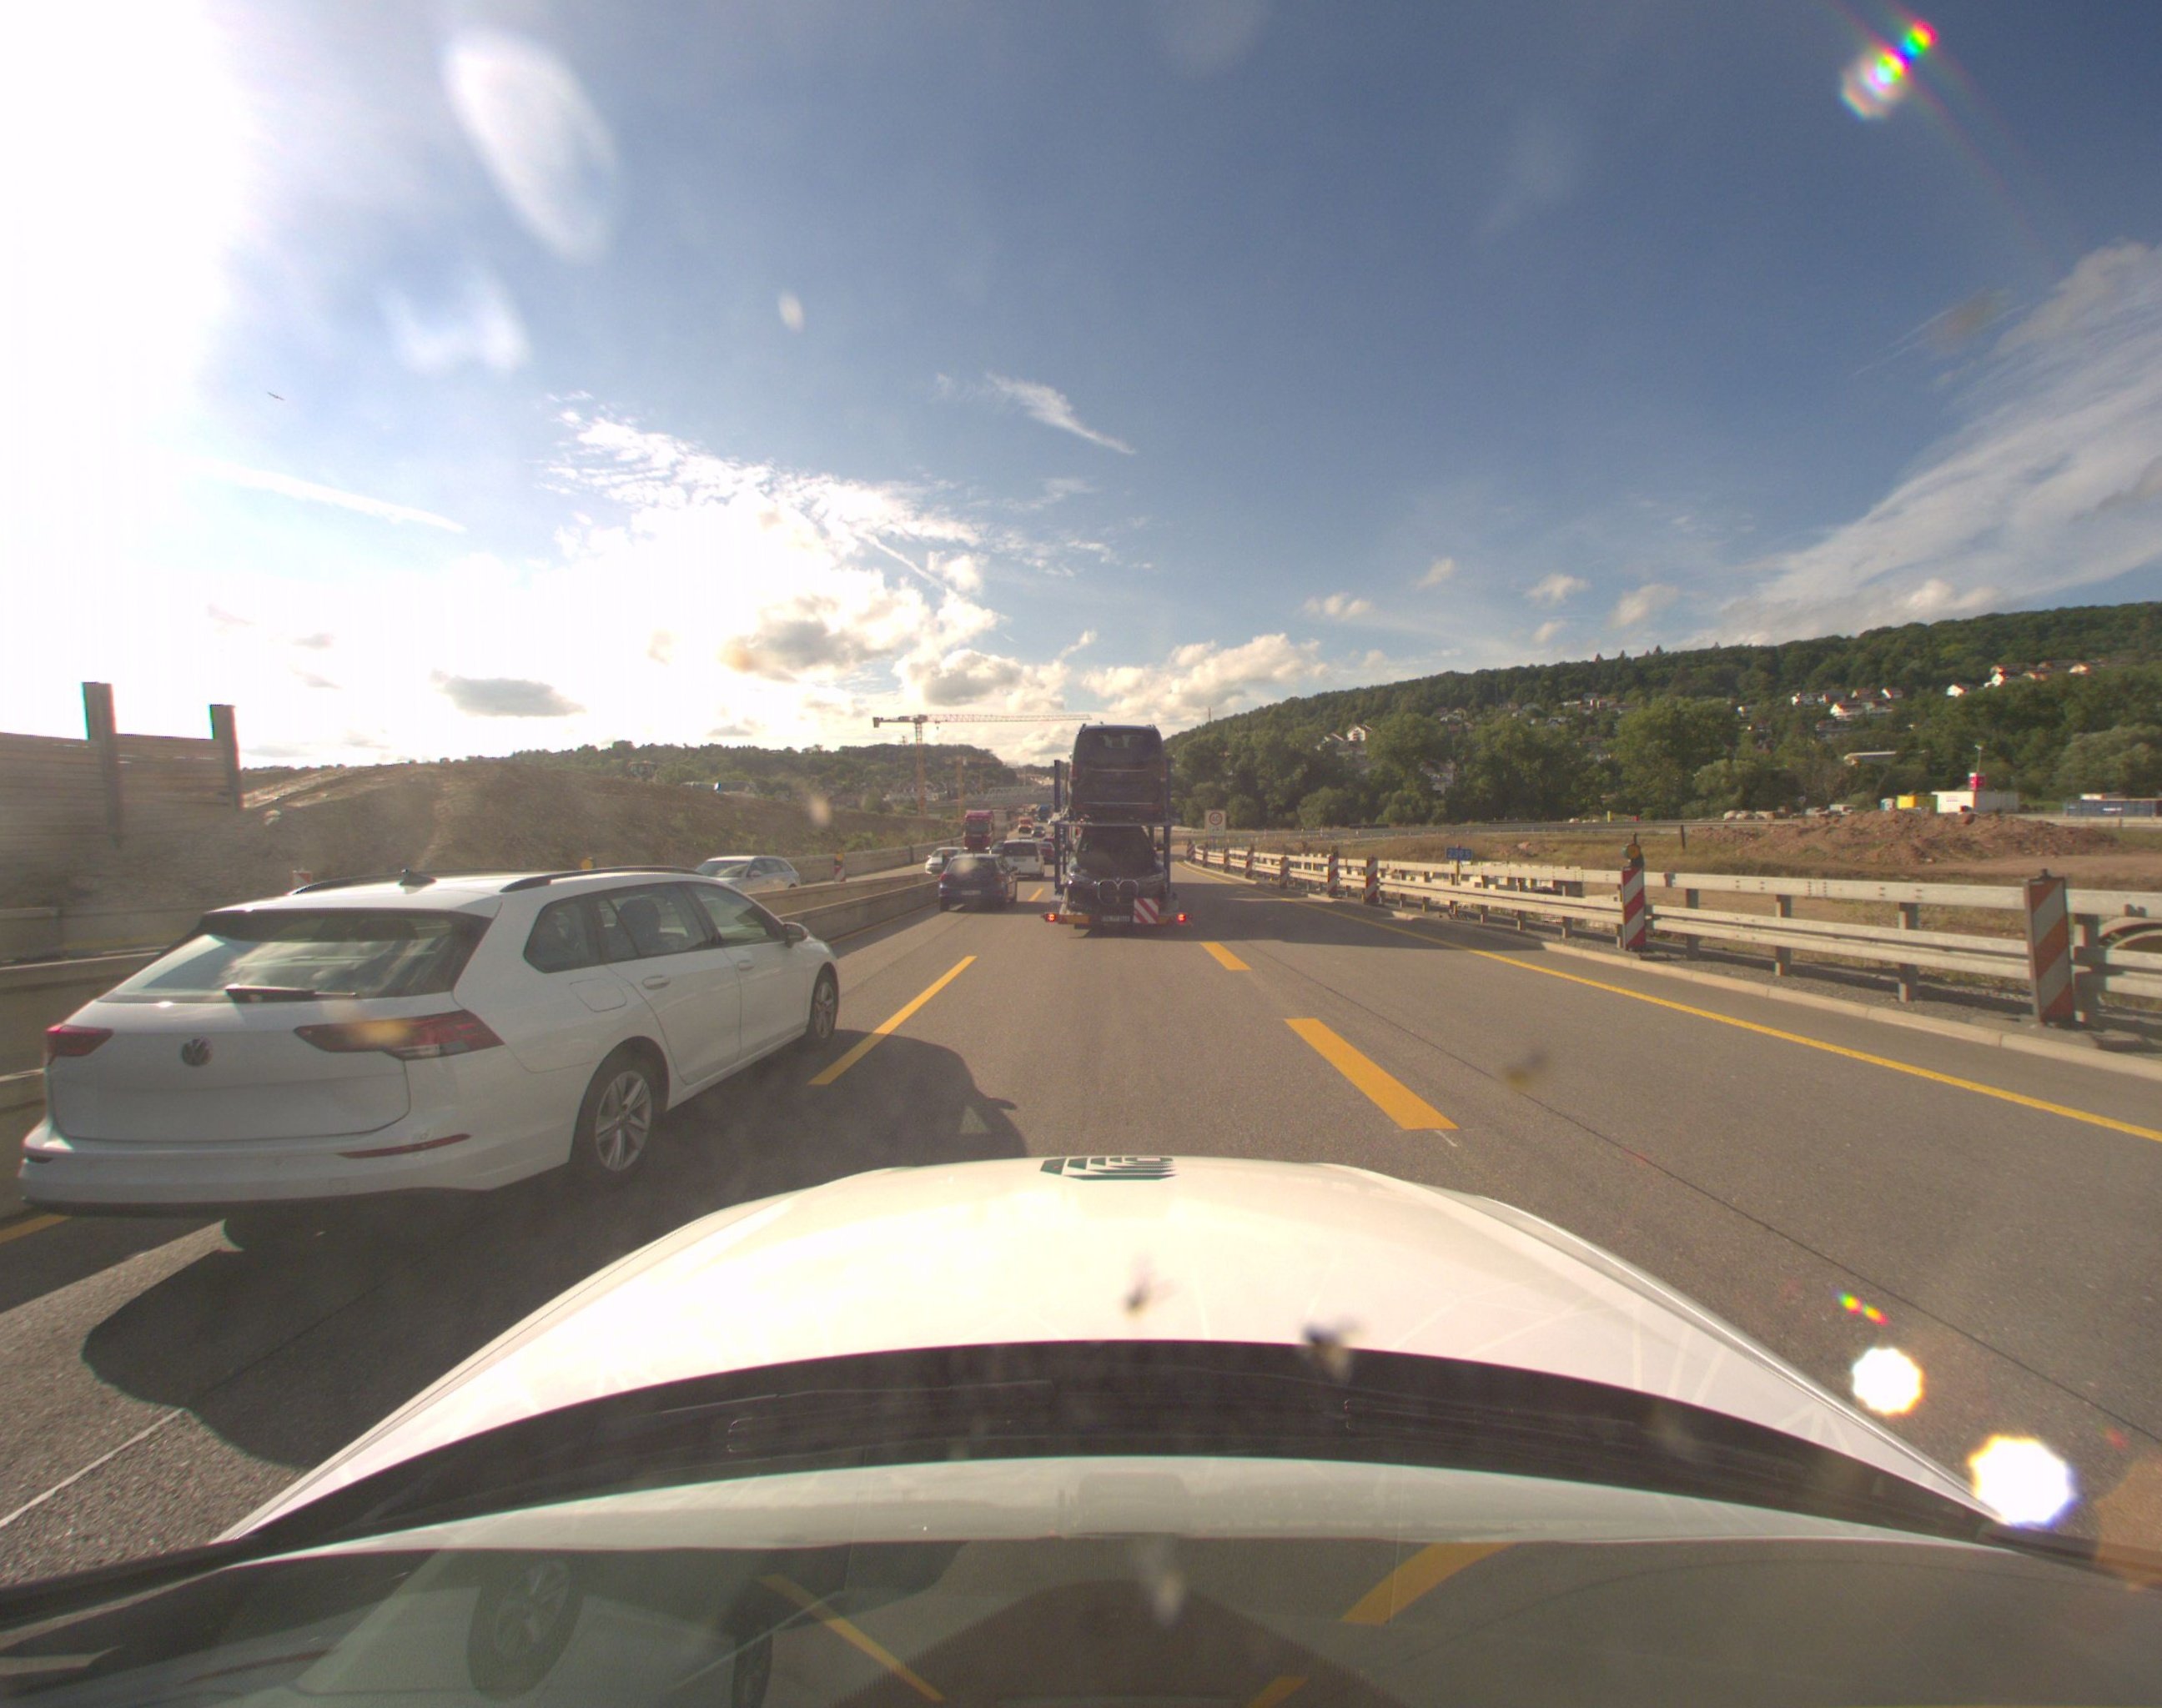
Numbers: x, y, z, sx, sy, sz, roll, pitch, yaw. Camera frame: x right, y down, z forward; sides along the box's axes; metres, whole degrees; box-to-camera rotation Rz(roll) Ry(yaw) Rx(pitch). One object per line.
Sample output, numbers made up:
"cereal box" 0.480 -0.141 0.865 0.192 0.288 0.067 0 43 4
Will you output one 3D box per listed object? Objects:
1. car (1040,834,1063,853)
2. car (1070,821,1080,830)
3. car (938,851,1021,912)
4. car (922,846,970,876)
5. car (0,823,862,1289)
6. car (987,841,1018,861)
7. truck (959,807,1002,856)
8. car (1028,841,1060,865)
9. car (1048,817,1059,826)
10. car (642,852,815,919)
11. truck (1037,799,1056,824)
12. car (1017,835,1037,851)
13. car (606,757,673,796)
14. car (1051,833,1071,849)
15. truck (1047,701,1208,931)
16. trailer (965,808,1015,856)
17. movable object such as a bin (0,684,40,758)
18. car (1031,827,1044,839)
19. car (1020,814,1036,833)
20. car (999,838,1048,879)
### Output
"car" -2.515 -0.872 70.364 1.988 1.552 3.997 0 -1 -1
"car" -1.138 -5.236 150.032 1.839 1.648 4.502 0 0 -1
"car" -2.639 0.663 21.942 1.716 1.422 3.999 -1 1 0
"car" -6.795 0.343 41.325 1.748 1.440 3.805 0 0 1
"car" -2.915 0.718 4.930 1.763 1.491 4.518 -1 -1 2
"car" -6.096 -0.245 63.899 1.814 1.440 4.617 0 0 2
"truck" -9.303 -2.053 75.818 2.903 4.387 6.290 1 0 2
"car" -2.479 -0.014 55.693 1.987 1.556 4.400 0 -1 0
"car" -5.395 -6.348 159.523 1.986 1.684 4.002 0 1 1
"car" -8.506 0.687 20.166 1.843 1.440 4.568 0 0 7
"truck" -7.881 -9.680 187.970 2.809 4.789 13.068 0 -1 4
"car" -5.494 -1.094 82.992 1.839 1.648 4.503 0 0 -1
"car" -33.135 -5.787 61.339 1.987 2.140 5.321 -5 -1 0
"car" -2.138 -1.403 88.456 1.986 1.665 4.003 0 2 2
"truck" 0.884 -0.700 23.541 2.744 3.954 18.889 1 0 0
"trailer" -9.011 -2.130 82.593 2.965 4.422 13.825 1 1 2
"movable object such as a bin" -54.442 -6.461 38.377 5.707 3.271 4.525 0 -1 12
"car" -6.133 -3.007 115.448 1.840 1.648 4.232 0 0 -3
"car" -8.480 -4.860 131.033 1.986 2.879 6.067 0 1 2
"car" -2.589 0.217 37.500 1.816 1.792 4.002 0 -1 2
